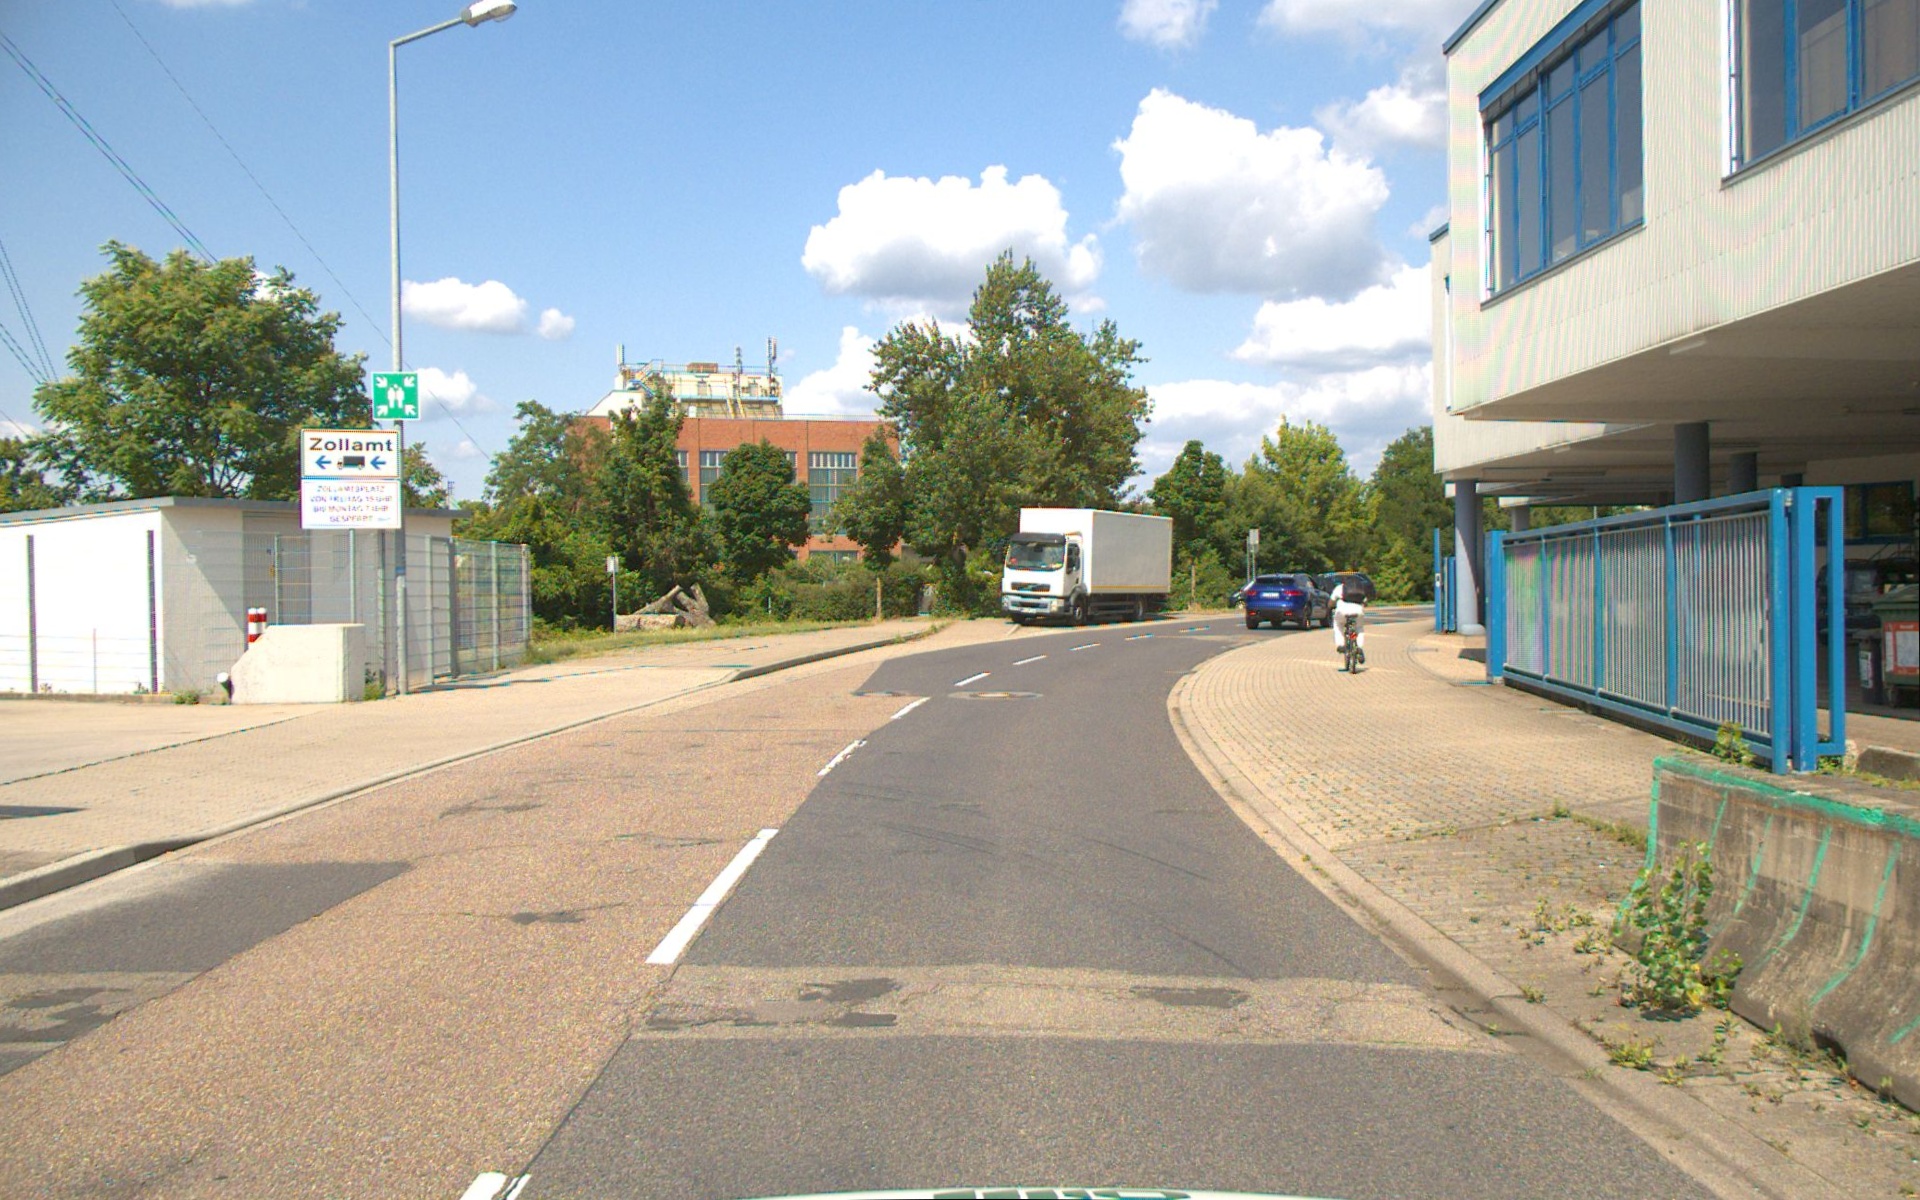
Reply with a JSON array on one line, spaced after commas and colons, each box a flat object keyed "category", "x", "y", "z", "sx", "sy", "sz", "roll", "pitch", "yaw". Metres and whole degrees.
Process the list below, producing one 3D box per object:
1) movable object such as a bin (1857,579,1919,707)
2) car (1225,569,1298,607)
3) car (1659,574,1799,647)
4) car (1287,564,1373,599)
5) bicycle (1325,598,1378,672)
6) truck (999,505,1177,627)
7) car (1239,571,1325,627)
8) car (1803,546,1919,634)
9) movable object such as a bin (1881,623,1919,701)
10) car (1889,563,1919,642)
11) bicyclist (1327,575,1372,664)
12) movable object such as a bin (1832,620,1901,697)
[{"category": "movable object such as a bin", "x": 11.158, "y": 0.476, "z": 19.110, "sx": 0.788, "sy": 1.438, "sz": 1.357, "roll": 0, "pitch": 0, "yaw": -4}, {"category": "car", "x": 13.073, "y": -0.516, "z": 71.762, "sx": 2.838, "sy": 1.597, "sz": 1.890, "roll": -1, "pitch": 0, "yaw": 2}, {"category": "car", "x": 20.883, "y": 0.247, "z": 44.896, "sx": 3.612, "sy": 1.687, "sz": 1.655, "roll": -4, "pitch": 3, "yaw": -29}, {"category": "car", "x": 17.336, "y": -0.865, "z": 77.559, "sx": 3.558, "sy": 1.597, "sz": 1.888, "roll": -1, "pitch": 0, "yaw": -6}, {"category": "bicycle", "x": 6.414, "y": 0.554, "z": 27.182, "sx": 0.652, "sy": 1.128, "sz": 2.169, "roll": -1, "pitch": 1, "yaw": 9}, {"category": "truck", "x": 4.368, "y": -1.163, "z": 53.959, "sx": 2.277, "sy": 3.629, "sz": 9.355, "roll": 1, "pitch": 2, "yaw": 28}, {"category": "car", "x": 10.046, "y": -0.044, "z": 51.318, "sx": 1.870, "sy": 1.621, "sz": 4.702, "roll": -1, "pitch": 0, "yaw": 21}, {"category": "car", "x": 20.382, "y": -0.260, "z": 36.219, "sx": 4.057, "sy": 1.812, "sz": 1.738, "roll": -1, "pitch": 2, "yaw": -35}, {"category": "movable object such as a bin", "x": 11.652, "y": 0.747, "z": 20.190, "sx": 0.586, "sy": 0.926, "sz": 0.417, "roll": 0, "pitch": 0, "yaw": -4}, {"category": "car", "x": 20.835, "y": 0.037, "z": 33.814, "sx": 3.620, "sy": 1.573, "sz": 1.821, "roll": -1, "pitch": 1, "yaw": -35}, {"category": "bicyclist", "x": 6.398, "y": 0.315, "z": 27.196, "sx": 0.649, "sy": 1.422, "sz": 0.859, "roll": -1, "pitch": 0, "yaw": 9}, {"category": "movable object such as a bin", "x": 11.552, "y": 0.739, "z": 21.088, "sx": 0.576, "sy": 0.960, "sz": 0.544, "roll": 0, "pitch": 0, "yaw": -4}]
